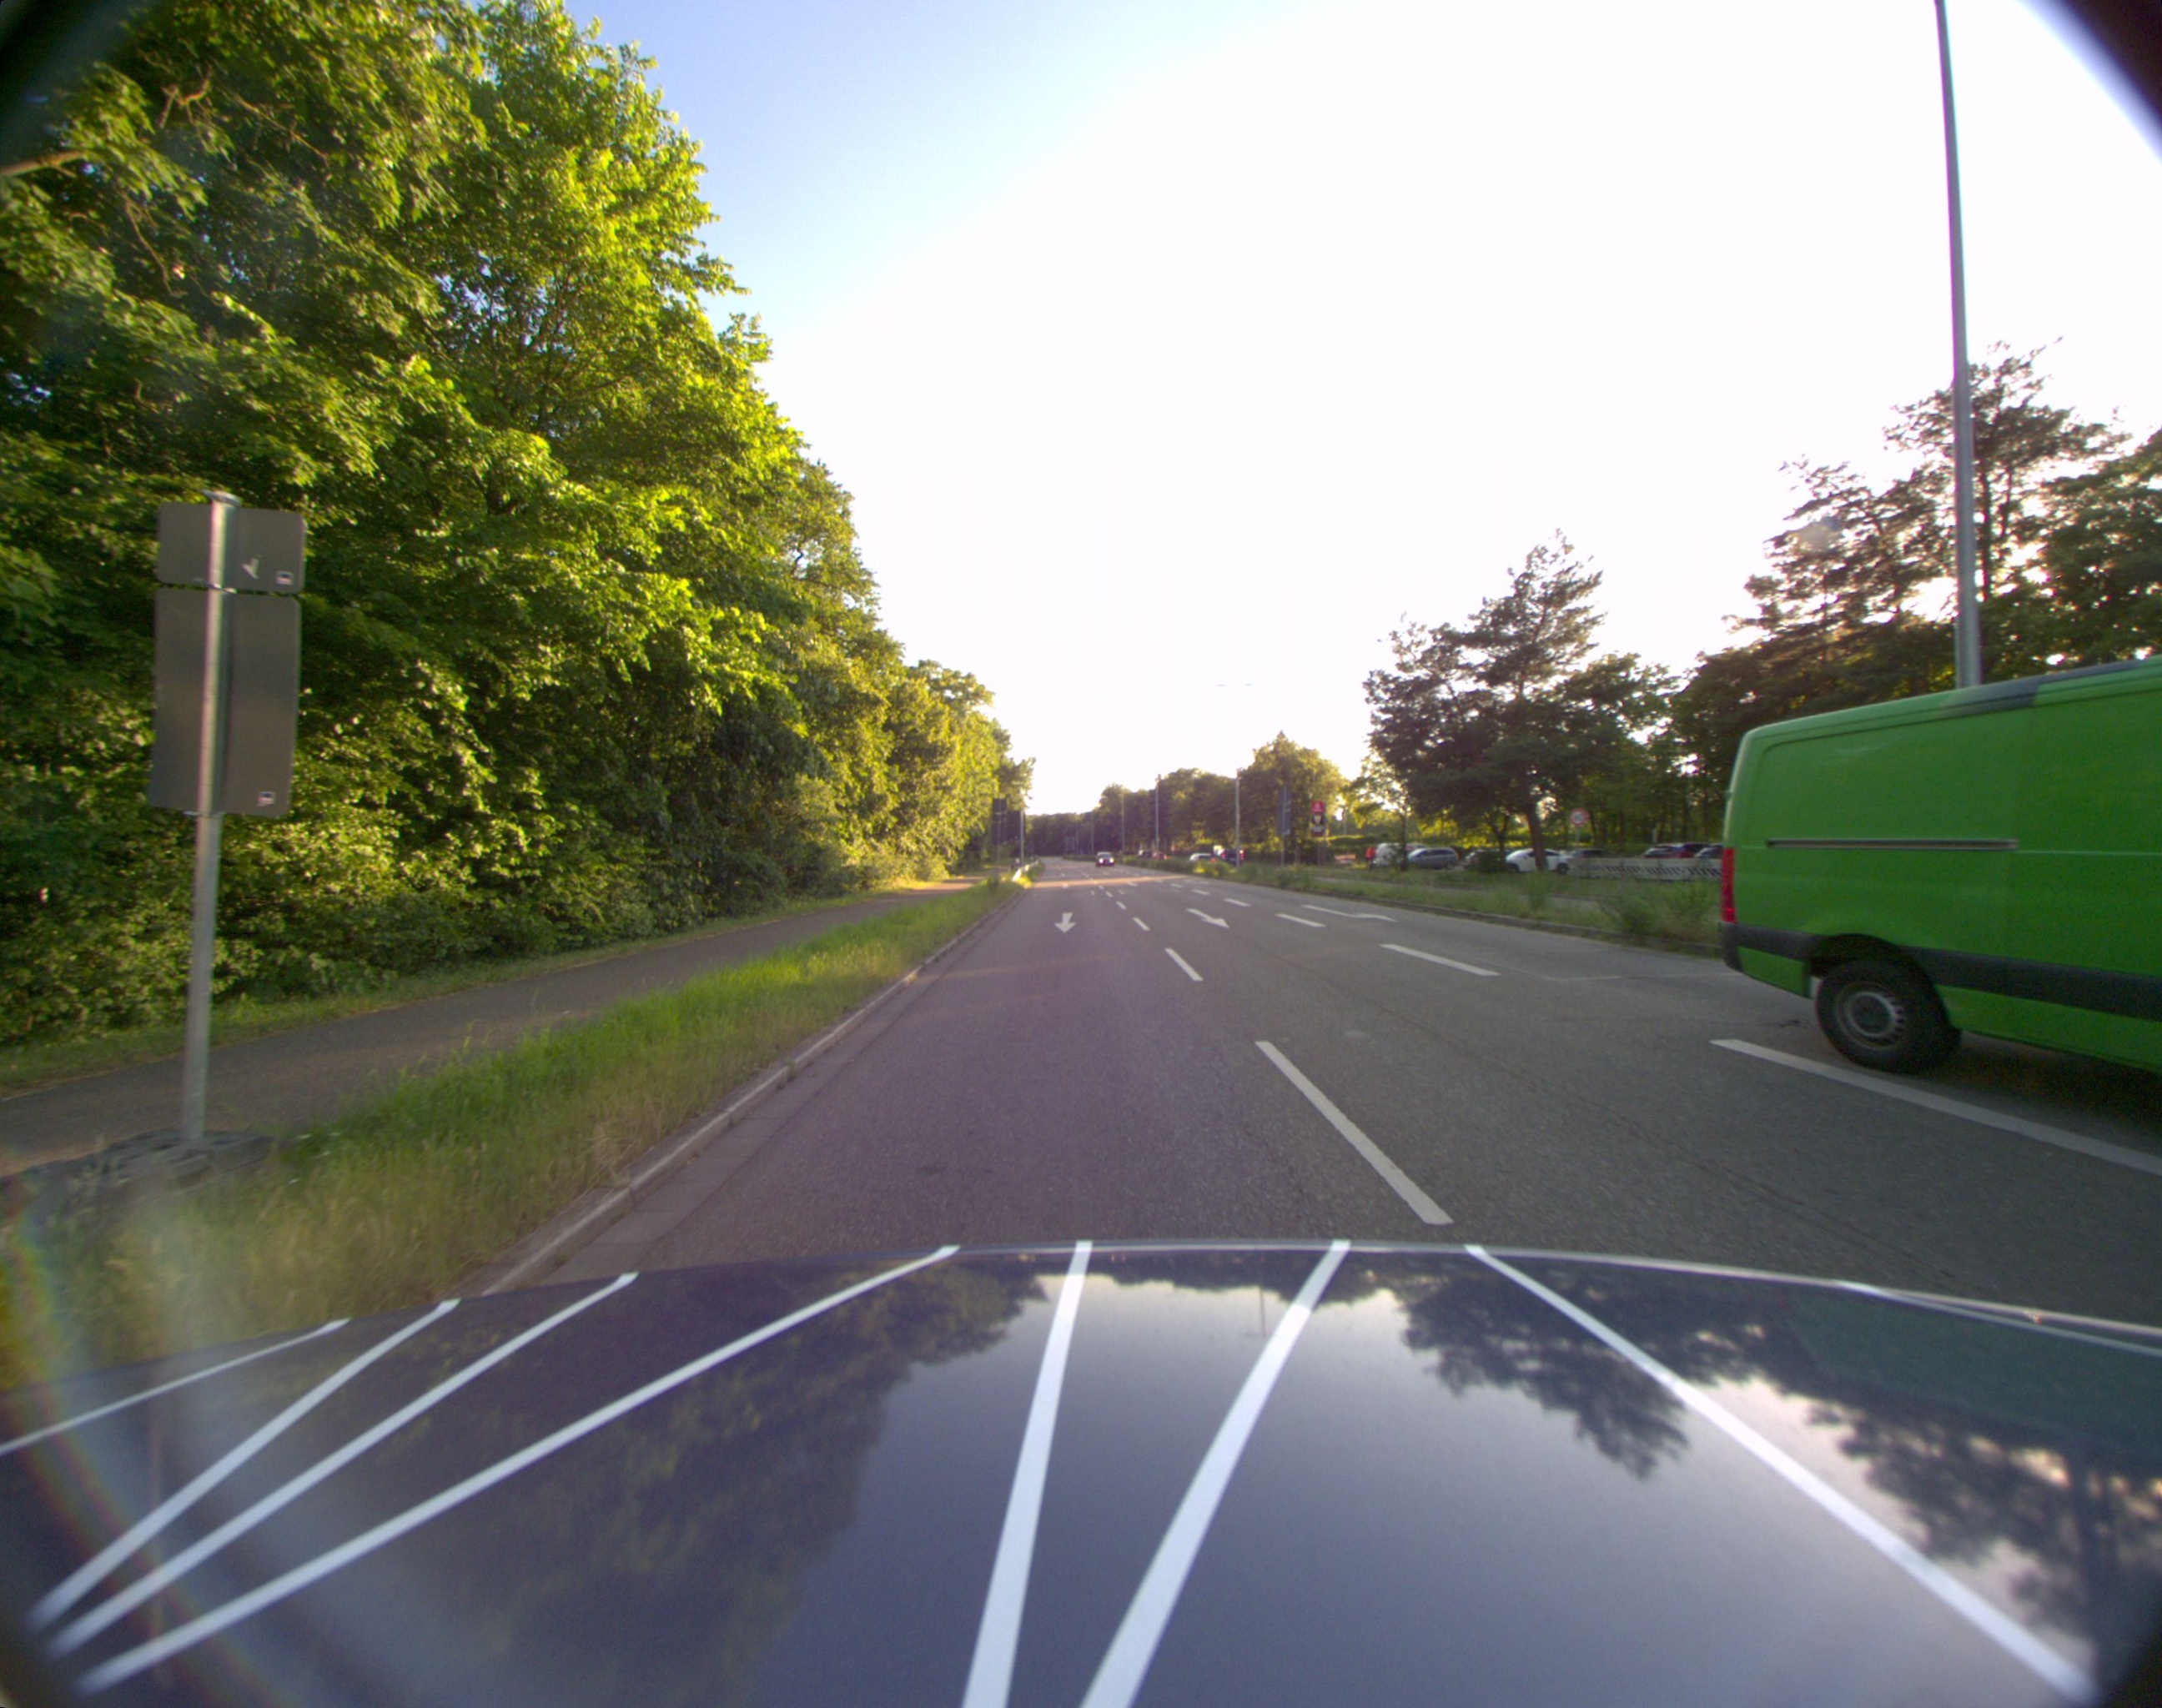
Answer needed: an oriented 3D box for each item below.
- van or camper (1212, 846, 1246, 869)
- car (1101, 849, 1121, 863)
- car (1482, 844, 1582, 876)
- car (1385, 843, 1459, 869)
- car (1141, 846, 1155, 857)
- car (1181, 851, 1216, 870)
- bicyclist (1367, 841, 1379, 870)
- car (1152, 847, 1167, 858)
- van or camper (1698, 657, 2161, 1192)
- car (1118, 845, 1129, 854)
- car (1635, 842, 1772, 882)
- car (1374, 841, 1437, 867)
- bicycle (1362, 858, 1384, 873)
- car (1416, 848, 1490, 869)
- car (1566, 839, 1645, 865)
[{"bbox_3d":[13.404,0.267,69.187,1.999,2.002,4.576,-1,0,-3],"label":"van or camper"},{"bbox_3d":[3.372,0.248,85.397,1.999,1.543,3.999,-1,0,-2],"label":"car"},{"bbox_3d":[25.459,0.349,43.003,4.497,1.743,1.909,0,1,0],"label":"car"},{"bbox_3d":[24.497,0.141,54.633,4.498,1.787,1.909,0,1,-2],"label":"car"},{"bbox_3d":[10.574,-0.441,119.942,1.760,1.532,3.999,-2,1,-1],"label":"car"},{"bbox_3d":[9.869,0.525,63.982,1.999,1.486,4.511,-1,0,-3],"label":"car"},{"bbox_3d":[18.862,0.122,49.087,0.459,1.863,0.618,-1,1,-4],"label":"bicyclist"},{"bbox_3d":[11.523,-0.256,111.645,1.760,1.532,3.998,-2,1,-1],"label":"car"},{"bbox_3d":[5.873,0.310,2.978,1.999,2.407,5.894,-1,0,-2],"label":"van or camper"},{"bbox_3d":[7.746,-0.797,139.556,1.760,1.532,3.999,-2,1,-1],"label":"car"},{"bbox_3d":[26.563,0.312,32.509,4.525,1.608,1.771,-1,1,-3],"label":"car"},{"bbox_3d":[24.590,-0.006,57.674,3.998,1.932,1.766,0,1,-2],"label":"car"},{"bbox_3d":[18.864,0.722,49.152,0.493,0.928,2.043,-1,0,-4],"label":"bicycle"},{"bbox_3d":[24.227,0.259,49.570,3.997,1.304,1.733,-1,1,0],"label":"car"},{"bbox_3d":[34.464,-0.131,50.016,3.997,1.641,1.766,0,1,0],"label":"car"}]
